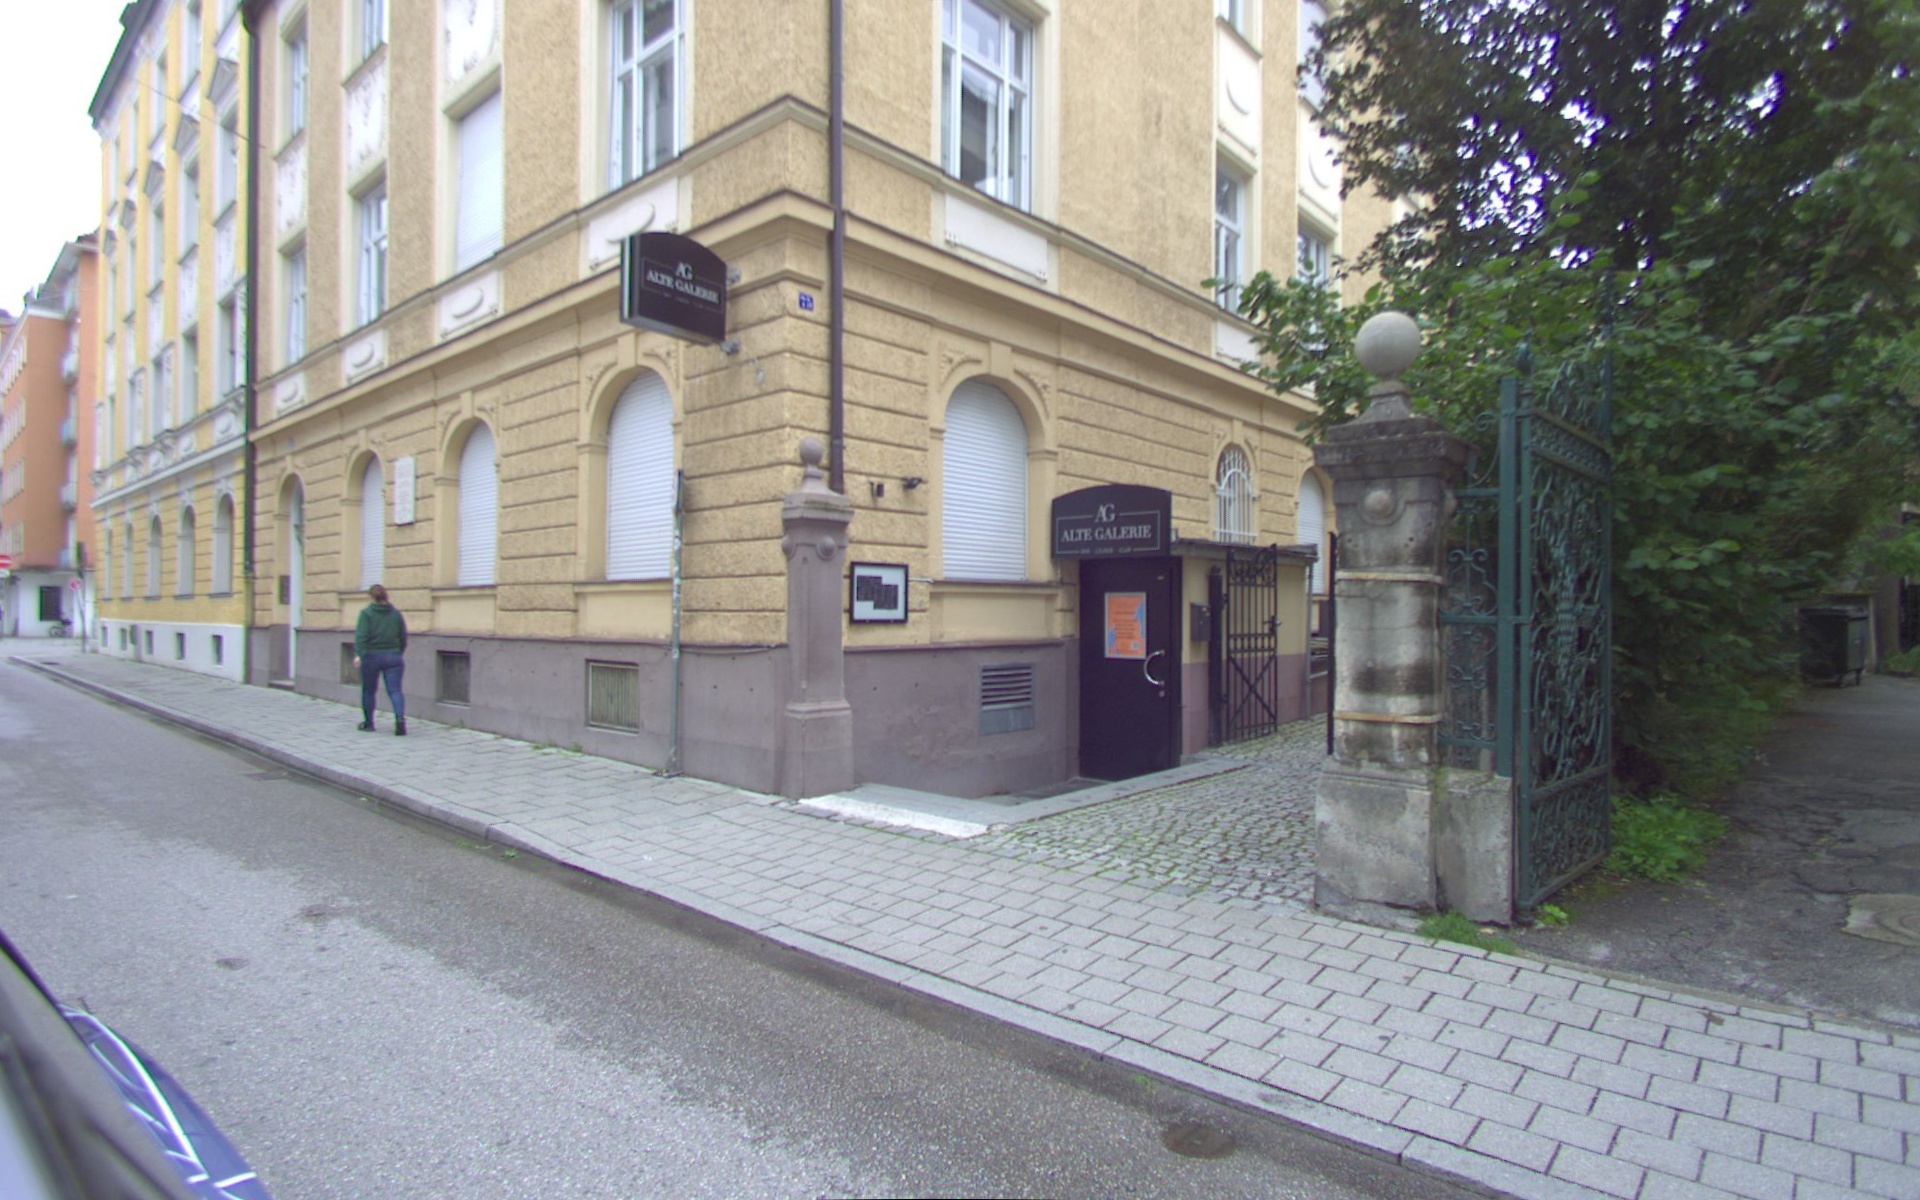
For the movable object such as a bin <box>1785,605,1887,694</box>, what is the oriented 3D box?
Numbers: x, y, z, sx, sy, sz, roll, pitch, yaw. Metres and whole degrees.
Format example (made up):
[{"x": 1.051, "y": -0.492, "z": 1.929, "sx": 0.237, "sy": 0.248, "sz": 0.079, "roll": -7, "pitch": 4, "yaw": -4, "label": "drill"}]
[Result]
[{"x": 14.630, "y": 0.800, "z": 16.905, "sx": 1.208, "sy": 1.414, "sz": 1.109, "roll": 1, "pitch": -1, "yaw": -41, "label": "movable object such as a bin"}]

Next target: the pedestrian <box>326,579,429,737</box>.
[{"x": -6.555, "y": 0.620, "z": 11.386, "sx": 0.929, "sy": 1.678, "sz": 0.705, "roll": -1, "pitch": 1, "yaw": 42, "label": "pedestrian"}]
